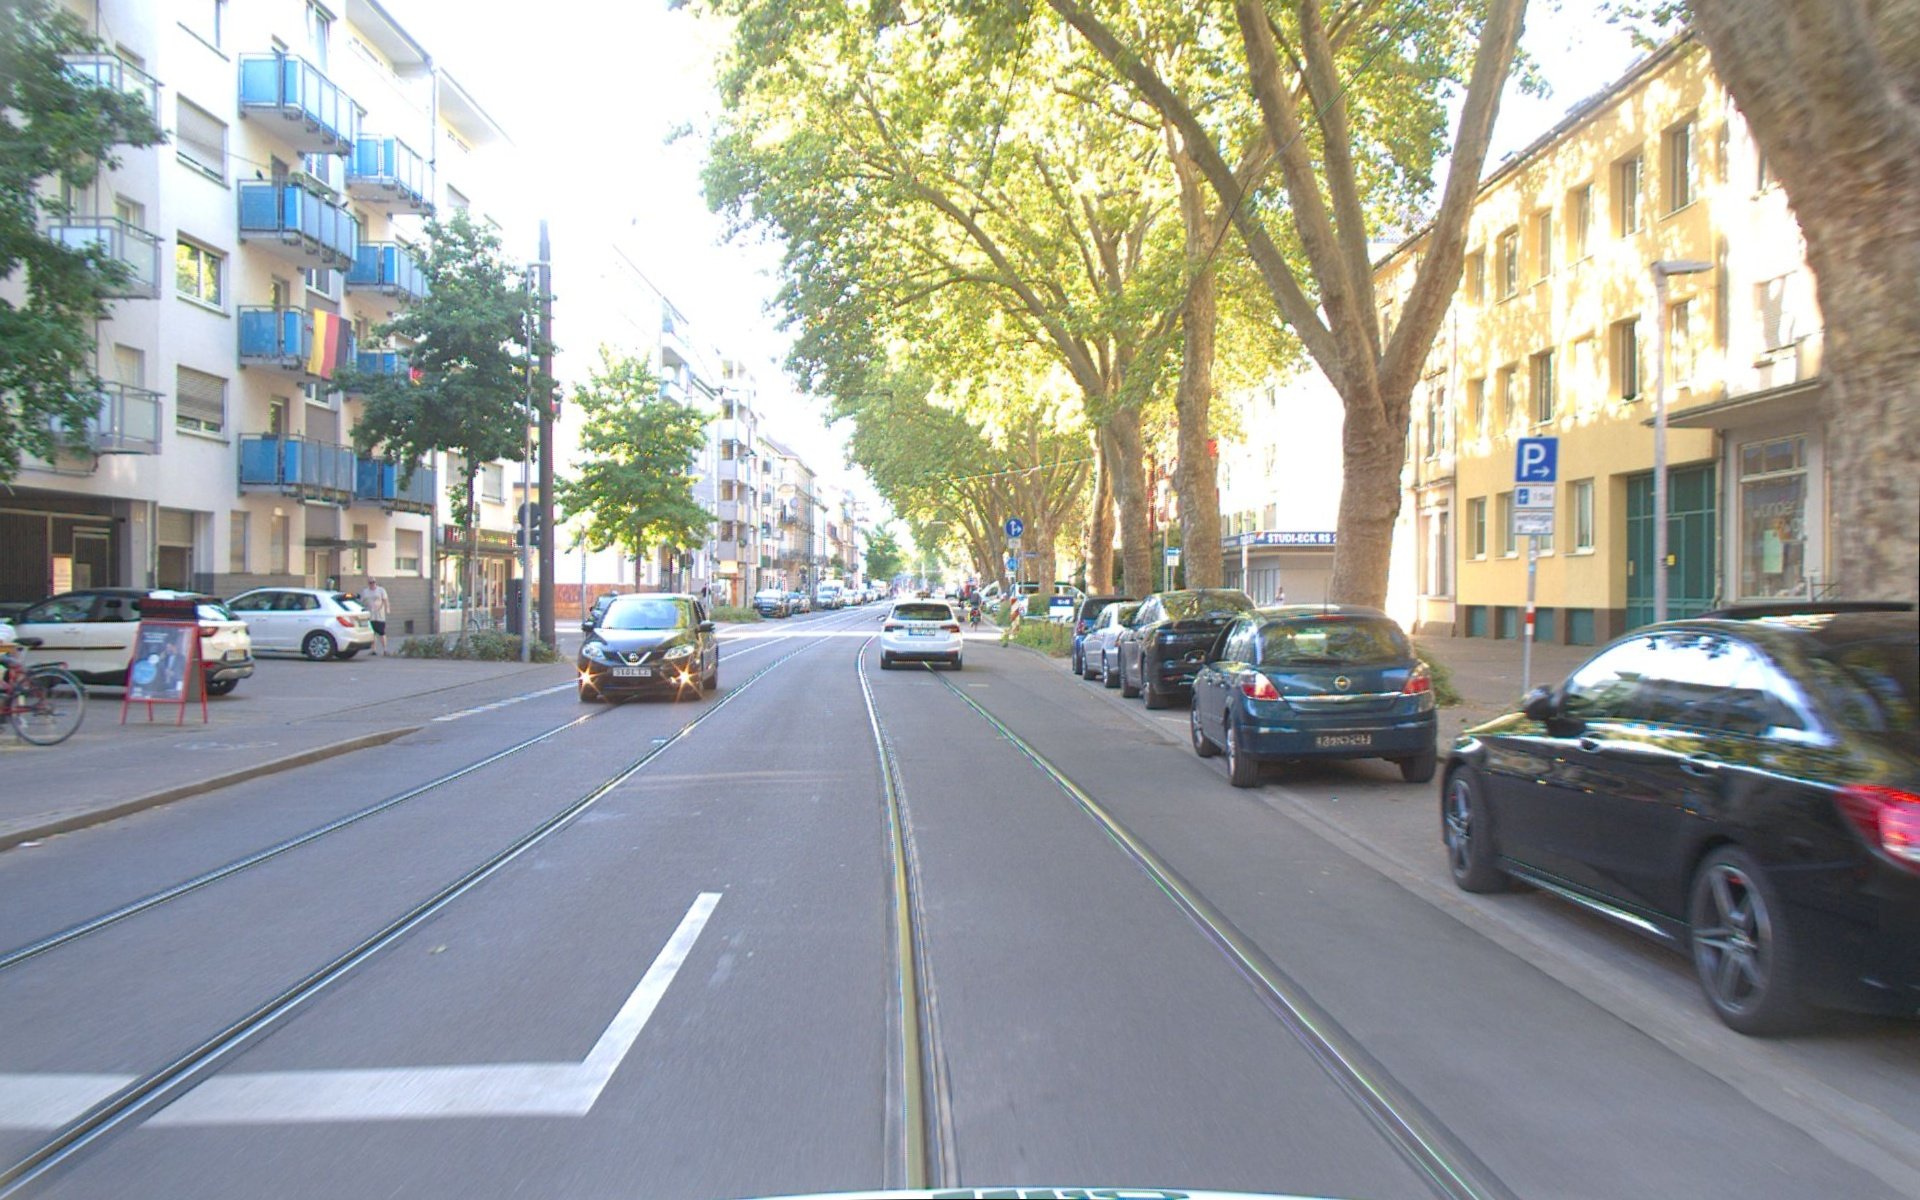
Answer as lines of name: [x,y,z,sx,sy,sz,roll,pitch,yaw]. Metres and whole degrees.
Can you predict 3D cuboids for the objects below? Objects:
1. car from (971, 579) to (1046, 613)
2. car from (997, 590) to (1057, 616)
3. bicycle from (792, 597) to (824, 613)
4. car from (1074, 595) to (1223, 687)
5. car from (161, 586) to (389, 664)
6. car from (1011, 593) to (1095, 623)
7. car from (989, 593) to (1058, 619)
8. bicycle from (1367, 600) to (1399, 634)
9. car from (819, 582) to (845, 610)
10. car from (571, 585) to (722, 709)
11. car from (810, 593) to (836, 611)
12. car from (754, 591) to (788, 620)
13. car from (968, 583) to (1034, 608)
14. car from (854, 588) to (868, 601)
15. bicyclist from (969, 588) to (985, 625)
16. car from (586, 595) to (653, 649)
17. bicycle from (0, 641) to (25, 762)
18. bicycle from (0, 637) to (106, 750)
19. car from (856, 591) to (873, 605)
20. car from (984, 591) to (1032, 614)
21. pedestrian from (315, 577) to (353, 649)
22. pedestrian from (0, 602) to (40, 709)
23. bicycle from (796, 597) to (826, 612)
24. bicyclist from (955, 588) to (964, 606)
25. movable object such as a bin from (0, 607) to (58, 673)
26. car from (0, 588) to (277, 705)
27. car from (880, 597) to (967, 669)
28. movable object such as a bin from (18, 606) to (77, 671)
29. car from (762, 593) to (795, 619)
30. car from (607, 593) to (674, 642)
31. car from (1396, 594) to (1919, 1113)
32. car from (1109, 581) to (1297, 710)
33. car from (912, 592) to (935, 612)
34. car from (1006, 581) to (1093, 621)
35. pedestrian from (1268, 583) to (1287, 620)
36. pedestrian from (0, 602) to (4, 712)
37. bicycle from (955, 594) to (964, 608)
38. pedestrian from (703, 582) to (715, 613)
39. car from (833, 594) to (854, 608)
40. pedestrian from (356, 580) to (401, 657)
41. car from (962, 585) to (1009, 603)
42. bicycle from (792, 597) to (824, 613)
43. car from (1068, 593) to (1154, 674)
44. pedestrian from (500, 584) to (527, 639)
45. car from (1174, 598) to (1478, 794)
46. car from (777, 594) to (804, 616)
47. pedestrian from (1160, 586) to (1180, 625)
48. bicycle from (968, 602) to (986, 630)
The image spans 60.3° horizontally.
car: [3.935,-0.329,135.548,6.007,2.681,2.528,0,0,-3]
car: [4.449,0.178,110.691,3.906,1.709,1.723,0,0,-2]
bicycle: [-12.305,0.379,133.984,2.477,1.193,0.718,2,-2,-7]
car: [3.251,0.696,29.418,1.781,1.461,4.599,-1,-1,-4]
car: [-14.179,0.517,34.404,3.933,1.501,1.850,1,0,-4]
car: [4.805,0.407,85.992,4.210,1.505,1.830,0,0,-2]
car: [3.825,0.372,99.765,4.059,1.540,1.930,0,0,-2]
bicycle: [14.690,0.581,57.452,0.571,1.123,1.922,-2,0,-1]
car: [-12.103,-0.374,156.862,2.134,2.642,4.948,0,0,-1]
car: [-4.580,0.625,24.691,1.835,1.617,4.141,2,0,-7]
car: [-12.002,0.163,145.139,1.953,1.557,3.999,0,0,-1]
car: [-11.420,0.310,100.250,1.668,1.679,4.240,2,0,-2]
car: [3.806,-0.446,154.166,6.007,2.322,2.528,0,0,-3]
car: [-15.438,-0.871,258.244,1.953,2.049,3.999,0,0,-1]
bicyclist: [0.688,0.252,67.397,0.664,1.468,1.047,0,0,0]
car: [-10.466,0.655,51.046,1.681,1.489,3.993,3,0,-8]
bicycle: [-9.172,0.865,14.256,1.794,1.025,0.657,1,-1,-6]
bicycle: [-9.074,0.868,15.602,1.658,1.025,0.657,1,-1,-6]
car: [-12.275,-0.270,213.188,1.953,1.668,3.999,1,0,-1]
car: [3.601,0.172,123.288,3.559,1.695,1.822,0,0,1]
pedestrian: [-15.042,0.314,39.770,0.650,1.720,0.748,0,0,-3]
pedestrian: [-12.105,0.689,20.807,0.700,1.320,0.908,0,0,-15]
bicycle: [-12.393,0.371,137.761,2.477,1.193,0.718,2,-2,-7]
bicyclist: [-0.015,-0.246,130.213,0.636,1.367,0.934,0,0,-3]
movable object such as a bin: [-15.389,0.651,27.276,0.664,1.074,0.622,0,0,1]
car: [-11.823,0.618,22.881,3.930,1.501,1.851,1,0,0]
car: [-0.797,0.650,34.867,1.726,1.408,3.998,0,0,-2]
movable object such as a bin: [-15.394,0.642,27.915,0.658,1.074,0.574,0,0,1]
car: [-11.529,0.365,105.324,1.668,1.571,4.241,2,0,-1]
car: [-10.735,0.581,55.799,1.680,1.489,4.372,3,0,-5]
car: [3.520,0.720,7.227,1.729,1.488,5.010,0,0,-2]
car: [3.384,0.619,23.966,1.820,1.631,4.780,-1,-1,-2]
car: [-2.831,0.147,130.303,1.725,1.501,4.000,0,0,0]
car: [4.757,0.070,88.569,4.453,2.113,1.999,0,0,-3]
pedestrian: [14.204,0.075,74.068,0.731,1.673,0.666,0,0,0]
pedestrian: [-11.822,0.688,19.572,0.700,1.320,0.745,0,0,-15]
bicycle: [-0.008,0.111,130.200,0.636,1.089,1.582,0,0,-3]
pedestrian: [-15.214,-0.127,100.219,0.650,1.858,0.965,0,0,-2]
car: [-12.448,0.104,177.184,1.953,1.557,3.999,0,0,-1]
pedestrian: [-13.110,0.416,37.326,0.748,1.720,0.794,0,0,-3]
car: [3.288,-0.812,214.382,6.007,2.322,2.528,0,0,-3]
bicycle: [-12.242,0.384,133.198,2.510,1.193,0.870,3,-2,-41]
car: [3.056,0.672,33.952,1.531,1.545,2.911,-1,-1,1]
pedestrian: [-14.015,0.352,51.893,0.650,1.720,0.748,0,0,-3]
car: [3.097,0.741,14.875,1.826,1.462,4.226,-1,0,1]
car: [-11.882,0.341,116.130,1.620,1.462,3.835,0,0,-2]
pedestrian: [10.467,0.258,82.366,0.751,1.899,1.187,0,0,-5]
bicycle: [0.690,0.650,67.511,0.667,1.089,1.781,0,0,0]
